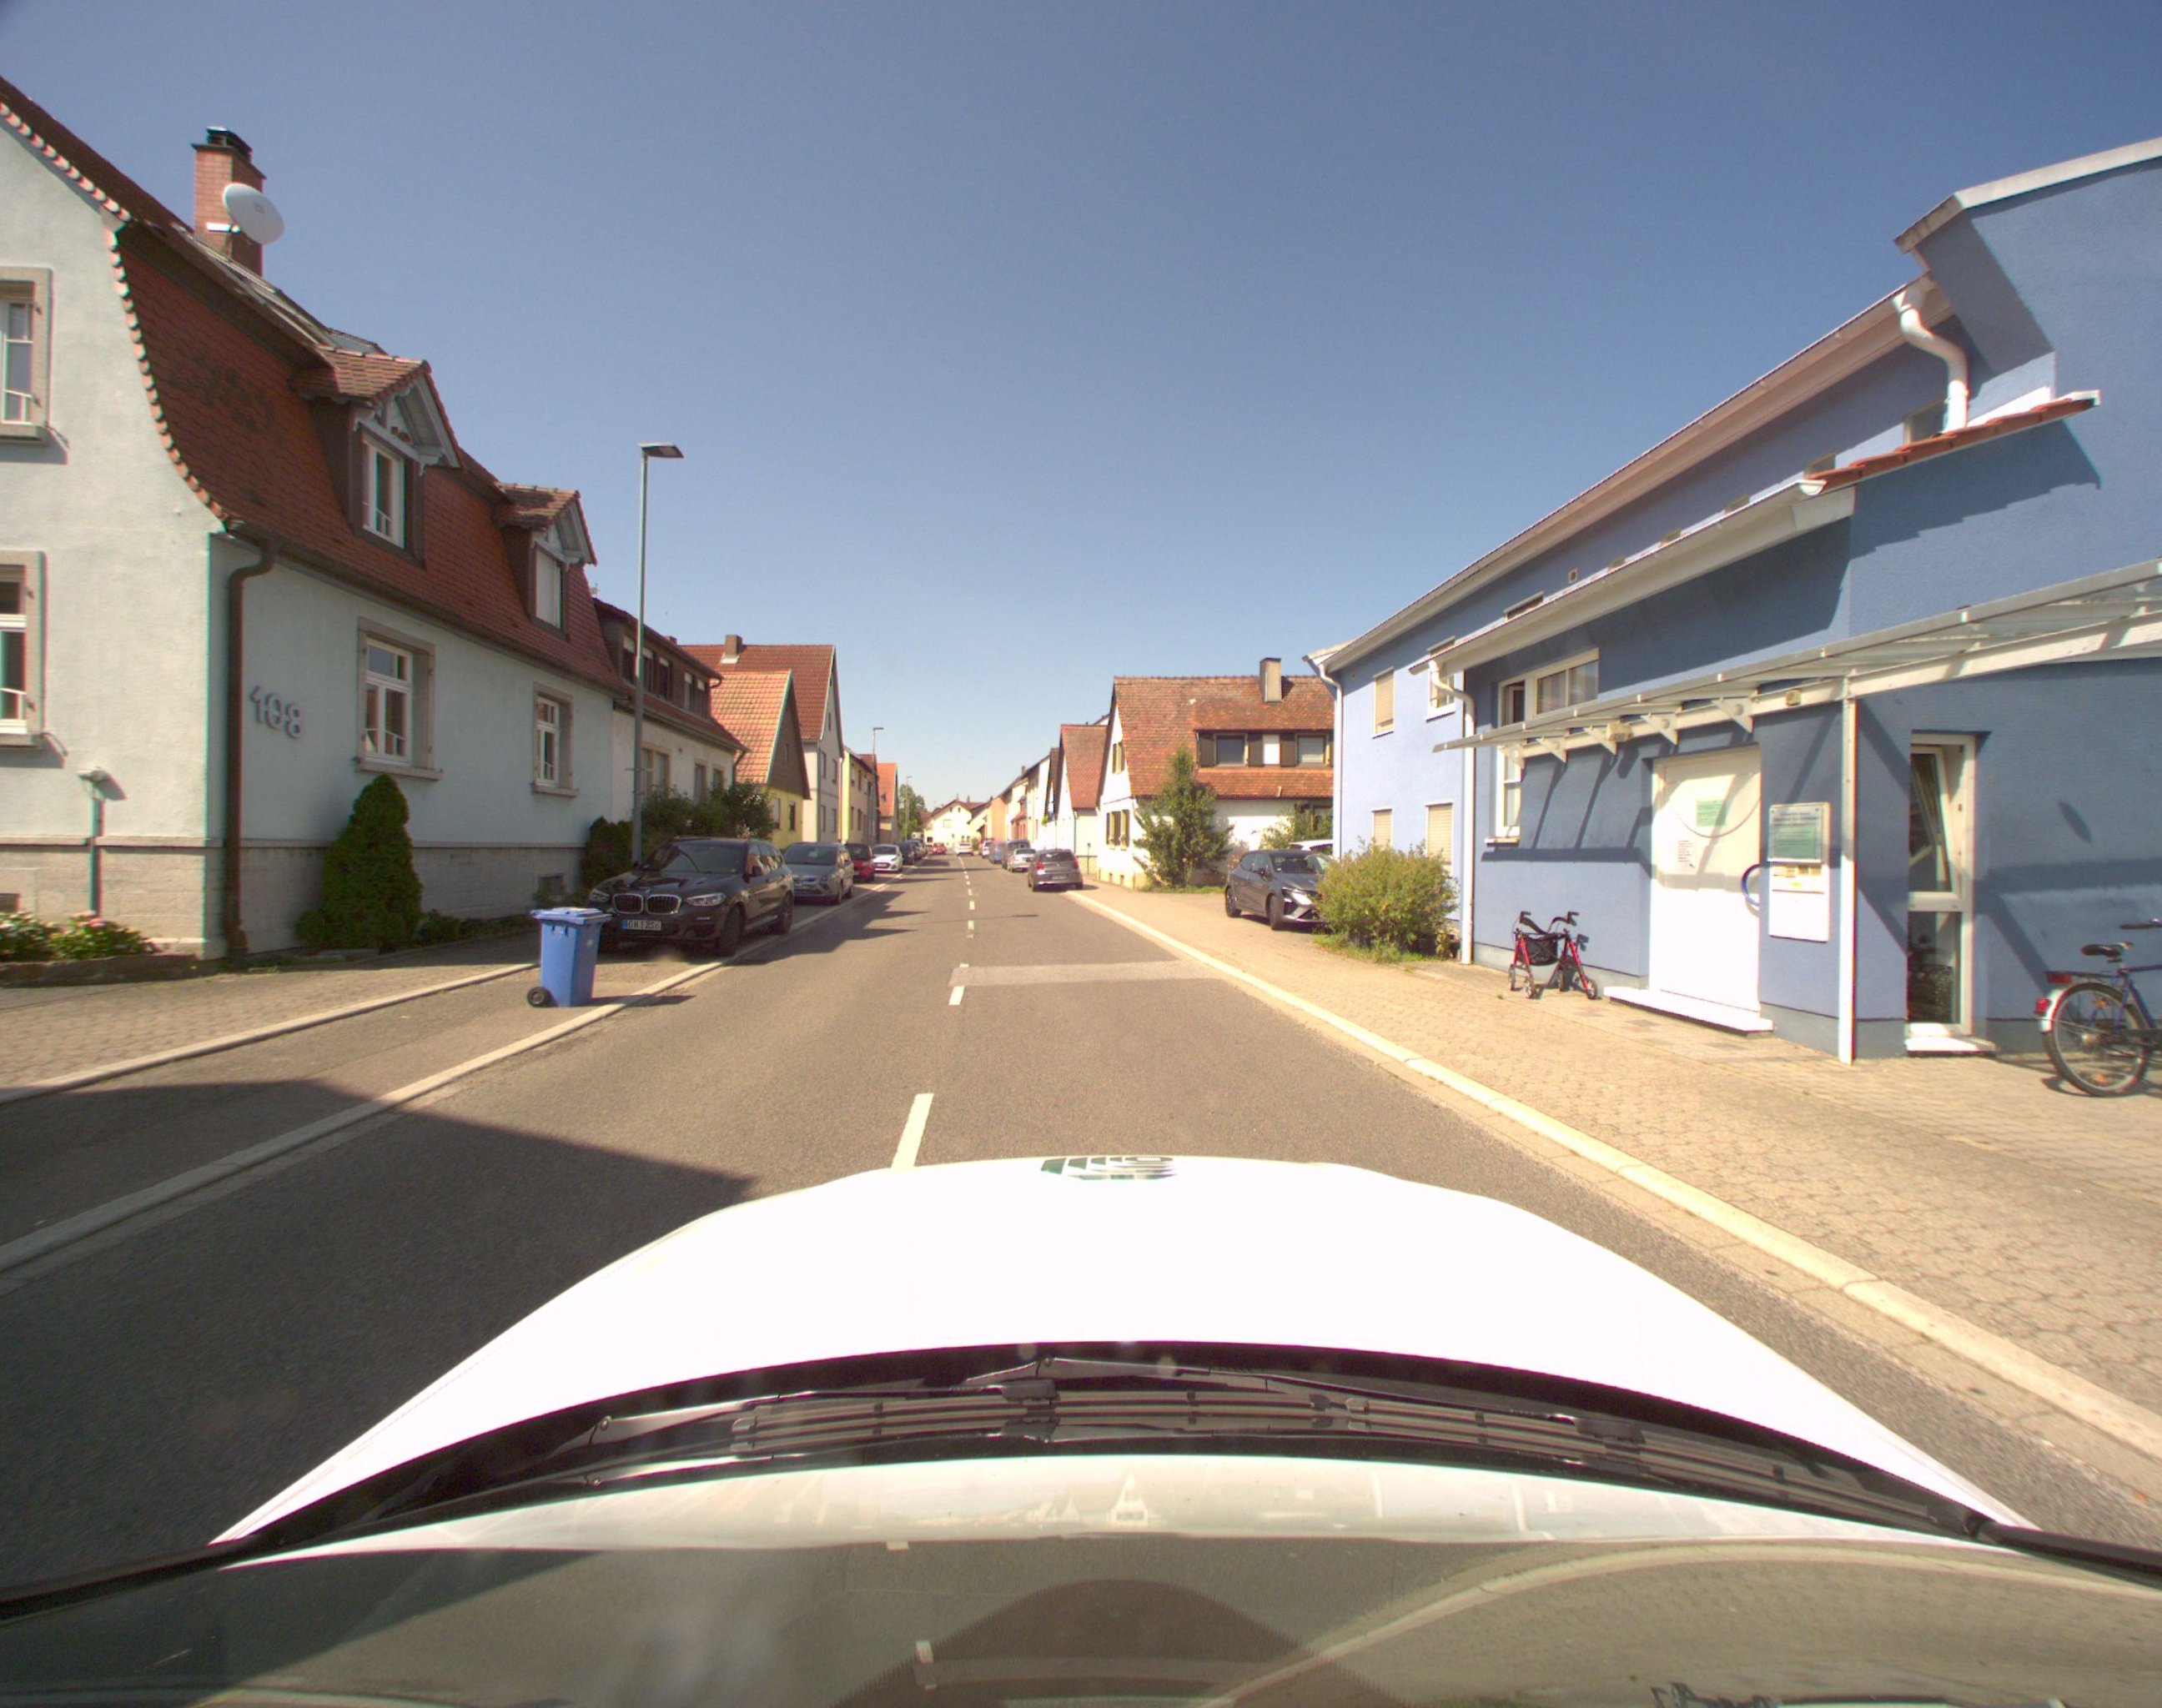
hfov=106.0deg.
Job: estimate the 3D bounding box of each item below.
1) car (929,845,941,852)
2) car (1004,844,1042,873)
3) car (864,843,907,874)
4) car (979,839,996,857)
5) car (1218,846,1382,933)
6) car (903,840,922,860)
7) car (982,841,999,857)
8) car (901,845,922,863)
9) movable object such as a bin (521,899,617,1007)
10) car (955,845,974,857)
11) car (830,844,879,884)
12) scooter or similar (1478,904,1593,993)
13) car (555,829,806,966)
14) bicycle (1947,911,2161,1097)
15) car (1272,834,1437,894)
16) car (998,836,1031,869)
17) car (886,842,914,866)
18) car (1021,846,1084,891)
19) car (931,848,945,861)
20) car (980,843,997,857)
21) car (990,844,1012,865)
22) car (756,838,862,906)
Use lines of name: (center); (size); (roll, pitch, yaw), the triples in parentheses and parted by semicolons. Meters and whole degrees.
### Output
car: (-25.444, -0.982, 141.842); (1.993, 1.288, 3.792); (0, 0, -9)
car: (-3.242, 0.227, 45.044); (1.704, 1.496, 3.441); (1, 0, -10)
car: (-10.468, 0.235, 43.828); (1.805, 1.547, 4.392); (1, 0, -8)
car: (-10.509, -0.681, 91.206); (1.766, 2.004, 3.440); (0, 0, -8)
car: (3.986, 0.583, 15.531); (1.687, 1.420, 4.138); (1, 0, -5)
car: (-15.103, -0.362, 73.006); (1.527, 1.713, 3.614); (1, 0, -10)
car: (-8.682, -0.470, 78.086); (1.420, 1.515, 3.293); (1, 0, -10)
car: (-14.181, 0.016, 68.369); (1.503, 1.453, 3.498); (0, 0, -9)
movable object such as a bin: (-4.997, 0.953, 7.972); (0.596, 0.982, 0.530); (2, 0, -7)
car: (-12.908, -0.328, 90.295); (1.993, 1.288, 3.987); (0, 0, -9)
car: (-9.371, 0.378, 33.863); (1.551, 1.544, 2.979); (1, 0, -8)
scooter or similar: (4.641, 0.945, 8.370); (0.726, 0.814, 0.827); (0, 0, -1)
car: (-5.835, 0.557, 12.624); (1.918, 1.668, 4.655); (3, 0, -6)
bicycle: (6.585, 0.873, 5.001); (1.950, 0.981, 0.656); (0, 0, -4)
car: (7.806, 0.271, 23.452); (4.165, 1.657, 1.810); (0, 0, -3)
car: (-4.098, -0.095, 49.886); (1.649, 1.910, 3.614); (1, 0, -10)
car: (-12.589, -0.008, 56.784); (1.619, 1.577, 3.948); (1, 0, -10)
car: (-1.064, 0.455, 28.403); (1.704, 1.433, 3.877); (0, 0, -10)
car: (-17.214, 0.057, 98.289); (1.601, 1.489, 3.614); (1, 0, -10)
car: (-9.816, -0.411, 86.249); (1.766, 1.433, 3.440); (0, 0, -8)
car: (-5.980, 0.008, 60.785); (1.420, 1.515, 3.293); (1, 0, -10)
car: (-7.305, 0.436, 22.348); (1.872, 1.636, 4.651); (1, 0, -8)
